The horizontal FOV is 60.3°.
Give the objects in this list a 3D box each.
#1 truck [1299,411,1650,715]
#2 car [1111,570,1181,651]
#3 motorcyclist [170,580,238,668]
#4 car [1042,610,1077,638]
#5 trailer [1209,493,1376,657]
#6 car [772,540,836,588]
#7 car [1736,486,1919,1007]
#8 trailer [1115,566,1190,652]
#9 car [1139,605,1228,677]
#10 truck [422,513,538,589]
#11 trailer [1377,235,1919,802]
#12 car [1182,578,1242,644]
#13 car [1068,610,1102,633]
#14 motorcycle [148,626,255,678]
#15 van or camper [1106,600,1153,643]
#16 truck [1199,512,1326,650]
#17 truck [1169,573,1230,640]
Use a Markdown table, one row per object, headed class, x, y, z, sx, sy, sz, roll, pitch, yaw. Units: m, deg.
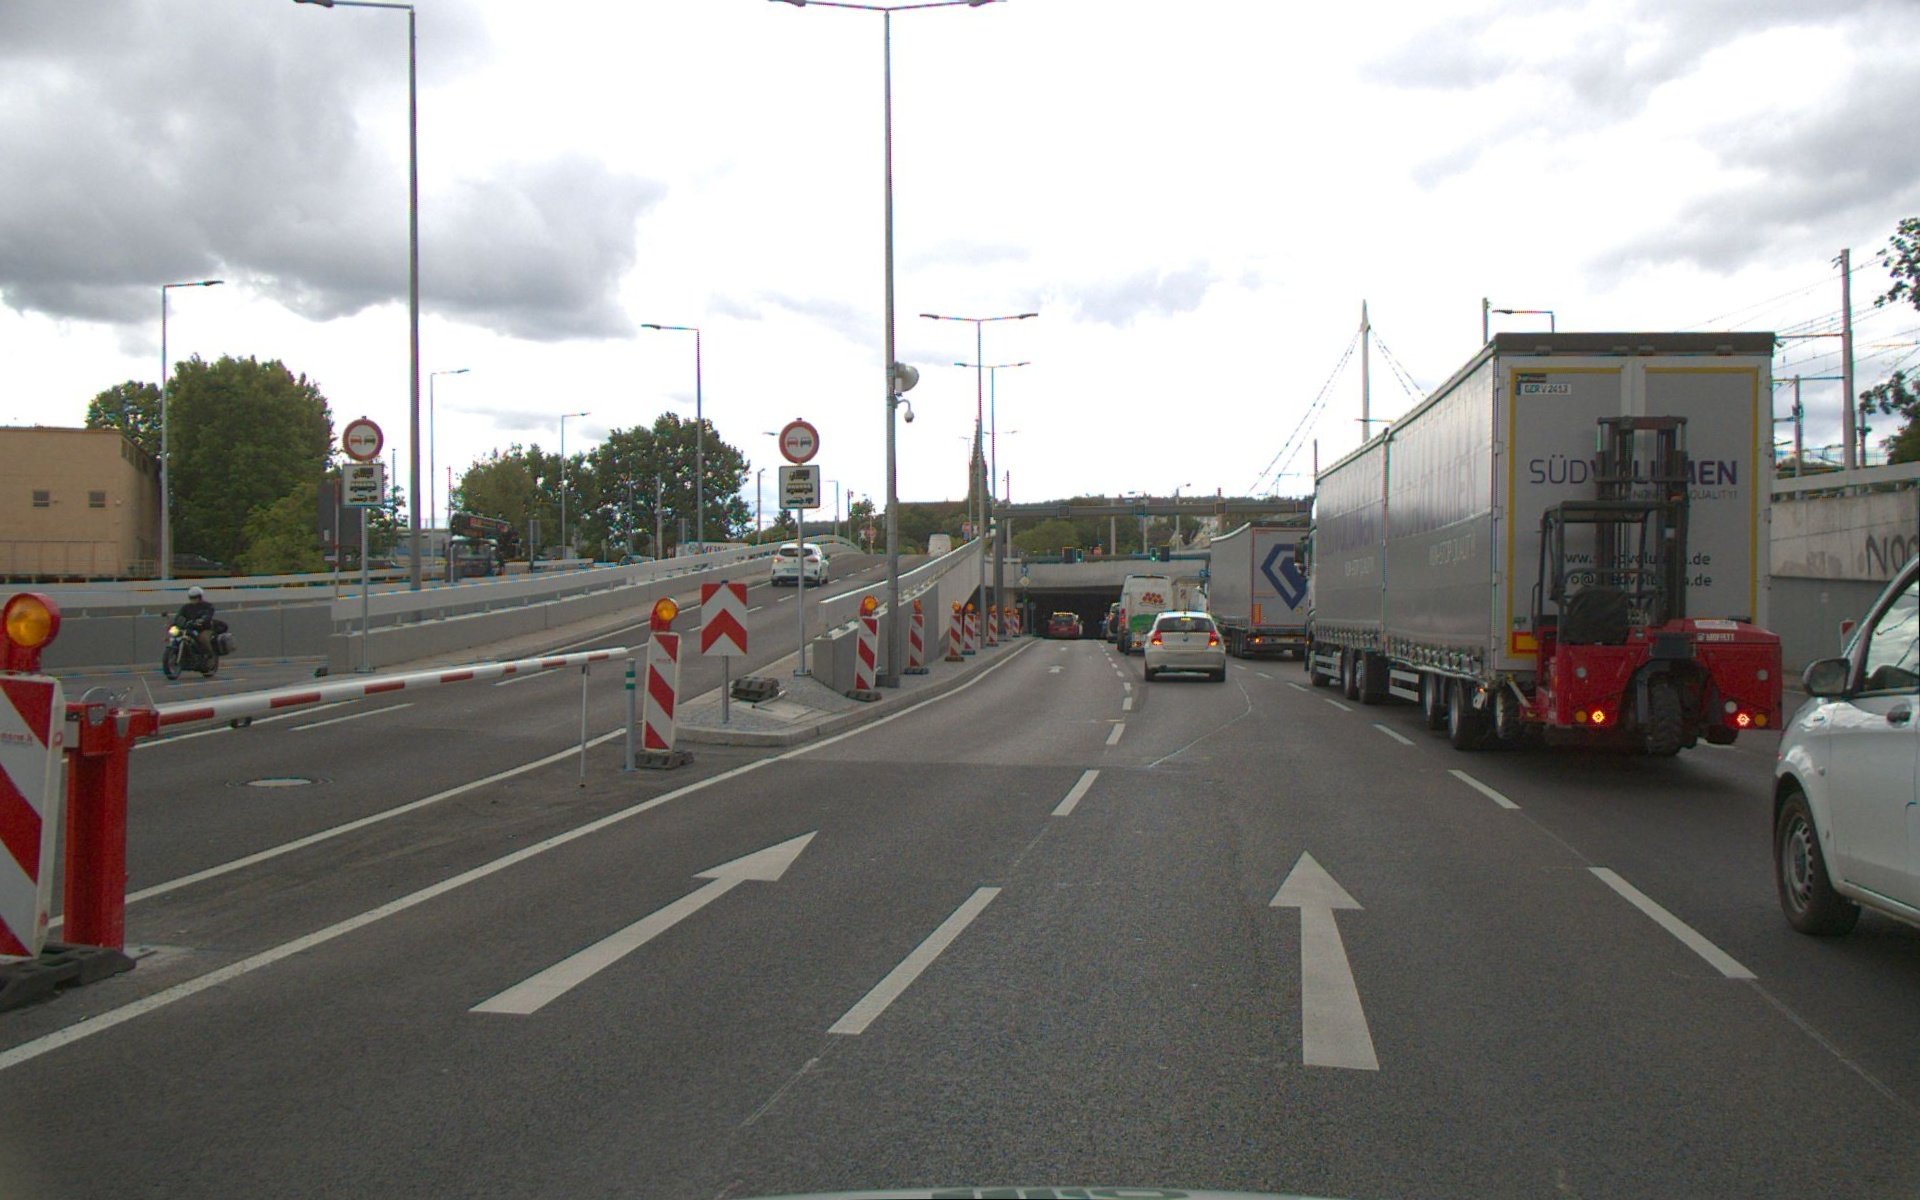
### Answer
| class | x | y | z | sx | sy | sz | roll | pitch | yaw |
| --- | --- | --- | --- | --- | --- | --- | --- | --- | --- |
| truck | 8.333 | -0.489 | 28.698 | 3.645 | 4.214 | 10.990 | 1 | 0 | 6 |
| car | 6.696 | 0.409 | 60.214 | 2.015 | 2.674 | 5.944 | 3 | -1 | 3 |
| motorcyclist | -14.374 | 0.451 | 31.462 | 0.651 | 1.634 | 1.104 | 1 | -1 | 7 |
| car | 5.694 | 1.419 | 95.008 | 1.627 | 1.514 | 3.565 | 0 | -2 | -2 |
| trailer | 10.585 | -0.684 | 54.164 | 3.725 | 4.712 | 12.119 | 1 | 0 | 4 |
| car | -5.403 | -1.233 | 57.679 | 1.708 | 1.457 | 3.776 | 3 | -1 | 1 |
| car | 4.680 | 0.579 | 6.147 | 1.951 | 2.025 | 5.203 | 1 | -1 | 10 |
| trailer | 6.507 | 0.338 | 56.371 | 2.060 | 2.685 | 4.811 | 3 | -1 | 3 |
| car | 4.792 | 0.859 | 35.960 | 1.680 | 1.422 | 4.349 | 1 | -1 | 5 |
| truck | -24.625 | -2.579 | 85.462 | 2.677 | 3.448 | 10.620 | -5 | 2 | 0 |
| trailer | 7.077 | -0.570 | 17.822 | 3.645 | 4.214 | 10.991 | 1 | 0 | 7 |
| car | 11.345 | 0.503 | 74.867 | 2.032 | 2.822 | 7.329 | 1 | 0 | 4 |
| car | 8.267 | 1.425 | 109.690 | 1.953 | 1.411 | 4.000 | 2 | 0 | 0 |
| motorcycle | -14.382 | 0.976 | 31.437 | 0.651 | 0.933 | 2.396 | 1 | -1 | 7 |
| van or camper | 8.118 | 1.073 | 79.581 | 1.952 | 1.878 | 5.509 | 1 | -2 | 3 |
| truck | 11.040 | -0.634 | 61.157 | 3.725 | 4.712 | 7.445 | 1 | 0 | 4 |
| truck | 12.142 | 0.394 | 84.249 | 2.594 | 3.241 | 7.429 | -1 | -1 | 5 |
